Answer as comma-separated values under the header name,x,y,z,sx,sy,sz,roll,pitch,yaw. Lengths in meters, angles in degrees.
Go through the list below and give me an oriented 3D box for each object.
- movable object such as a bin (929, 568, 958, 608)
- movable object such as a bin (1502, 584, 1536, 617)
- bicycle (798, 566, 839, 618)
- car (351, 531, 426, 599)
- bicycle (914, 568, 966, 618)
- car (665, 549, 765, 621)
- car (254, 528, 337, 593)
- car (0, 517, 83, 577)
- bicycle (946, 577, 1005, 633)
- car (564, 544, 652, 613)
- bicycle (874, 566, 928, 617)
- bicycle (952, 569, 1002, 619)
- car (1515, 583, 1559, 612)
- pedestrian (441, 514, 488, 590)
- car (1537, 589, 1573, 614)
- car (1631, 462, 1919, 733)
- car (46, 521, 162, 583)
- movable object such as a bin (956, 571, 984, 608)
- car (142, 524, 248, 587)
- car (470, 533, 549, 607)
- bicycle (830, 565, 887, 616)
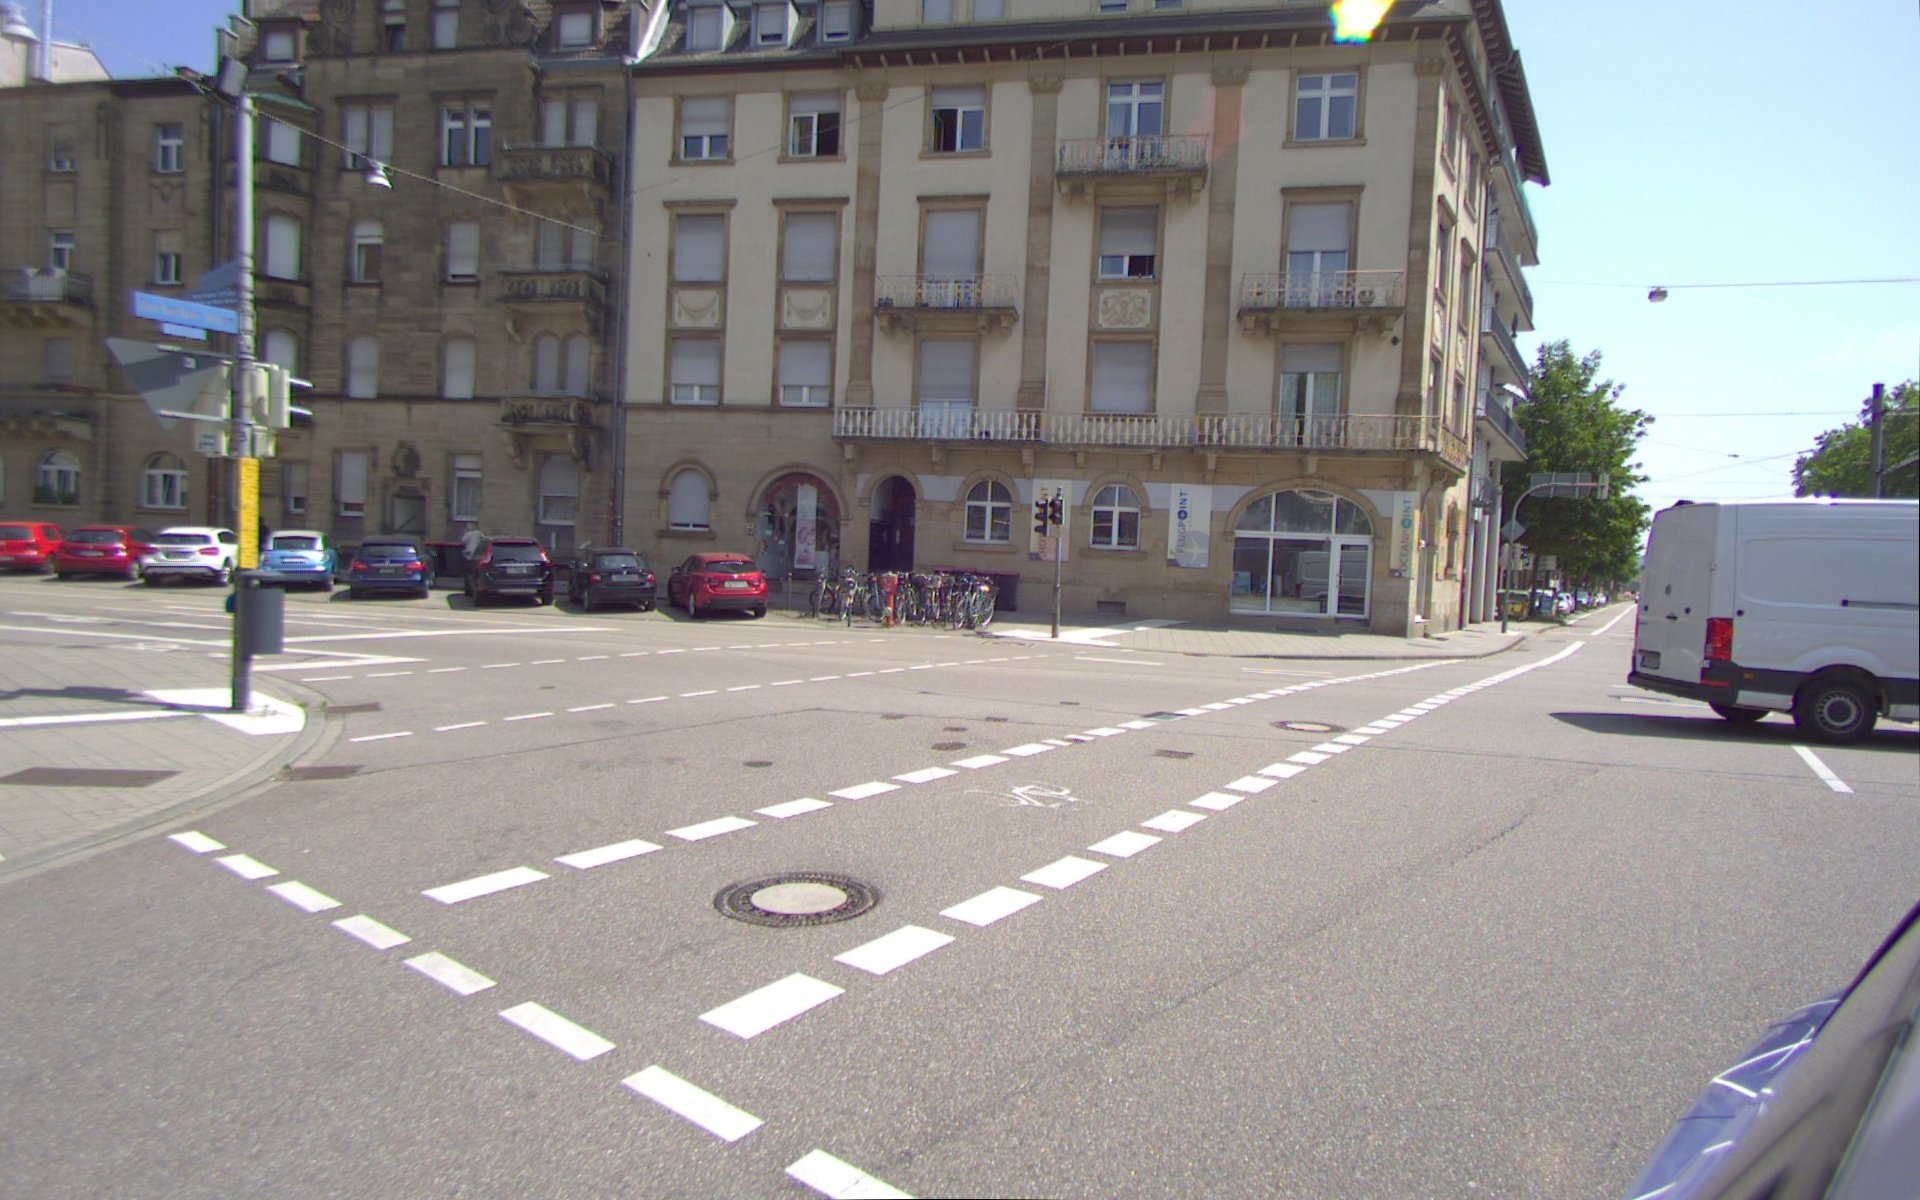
name,x,y,z,sx,sy,sz,roll,pitch,yaw
movable object such as a bin,-0.458,-0.344,28.067,0.583,1.077,0.666,2,2,19
movable object such as a bin,25.405,0.009,46.016,1.203,1.454,0.999,3,2,26
bicycle,-3.392,-0.219,24.439,0.555,1.165,1.803,2,3,6
car,-14.910,-0.962,26.499,1.584,1.593,3.233,-1,5,-28
bicycle,-0.484,-0.201,25.066,0.559,1.165,1.791,3,3,24
car,-5.976,-0.421,24.454,1.584,1.496,3.233,-1,5,-28
car,-17.999,-1.115,27.516,1.584,1.593,3.233,-1,5,-28
car,-26.596,-1.540,28.793,1.583,1.593,3.235,-1,4,-24
bicycle,0.384,0.088,23.394,0.559,1.165,2.044,3,3,24
car,-8.799,-0.592,25.163,1.584,1.496,3.233,-1,5,-28
bicycle,-1.434,-0.230,24.986,0.559,1.165,1.791,3,3,24
bicycle,0.438,-0.171,24.952,0.559,1.165,1.791,3,3,24
car,32.740,-0.169,57.387,1.985,1.550,3.955,3,2,32
pedestrian,-14.528,-1.410,29.667,1.097,2.139,0.854,4,2,42
car,39.791,0.093,67.631,1.985,1.550,3.955,3,2,32
car,11.366,0.041,10.809,6.531,2.669,2.071,3,2,12
car,-23.805,-1.377,28.268,1.583,1.593,3.235,-1,4,-24
movable object such as a bin,0.277,-0.293,27.868,0.583,1.007,0.579,2,2,19
car,-20.783,-1.260,27.622,1.583,1.593,3.235,-1,4,-24
car,-11.447,-0.816,25.650,1.584,1.685,3.233,-1,5,-28
bicycle,-2.447,-0.253,24.652,0.559,1.165,1.791,3,3,24
